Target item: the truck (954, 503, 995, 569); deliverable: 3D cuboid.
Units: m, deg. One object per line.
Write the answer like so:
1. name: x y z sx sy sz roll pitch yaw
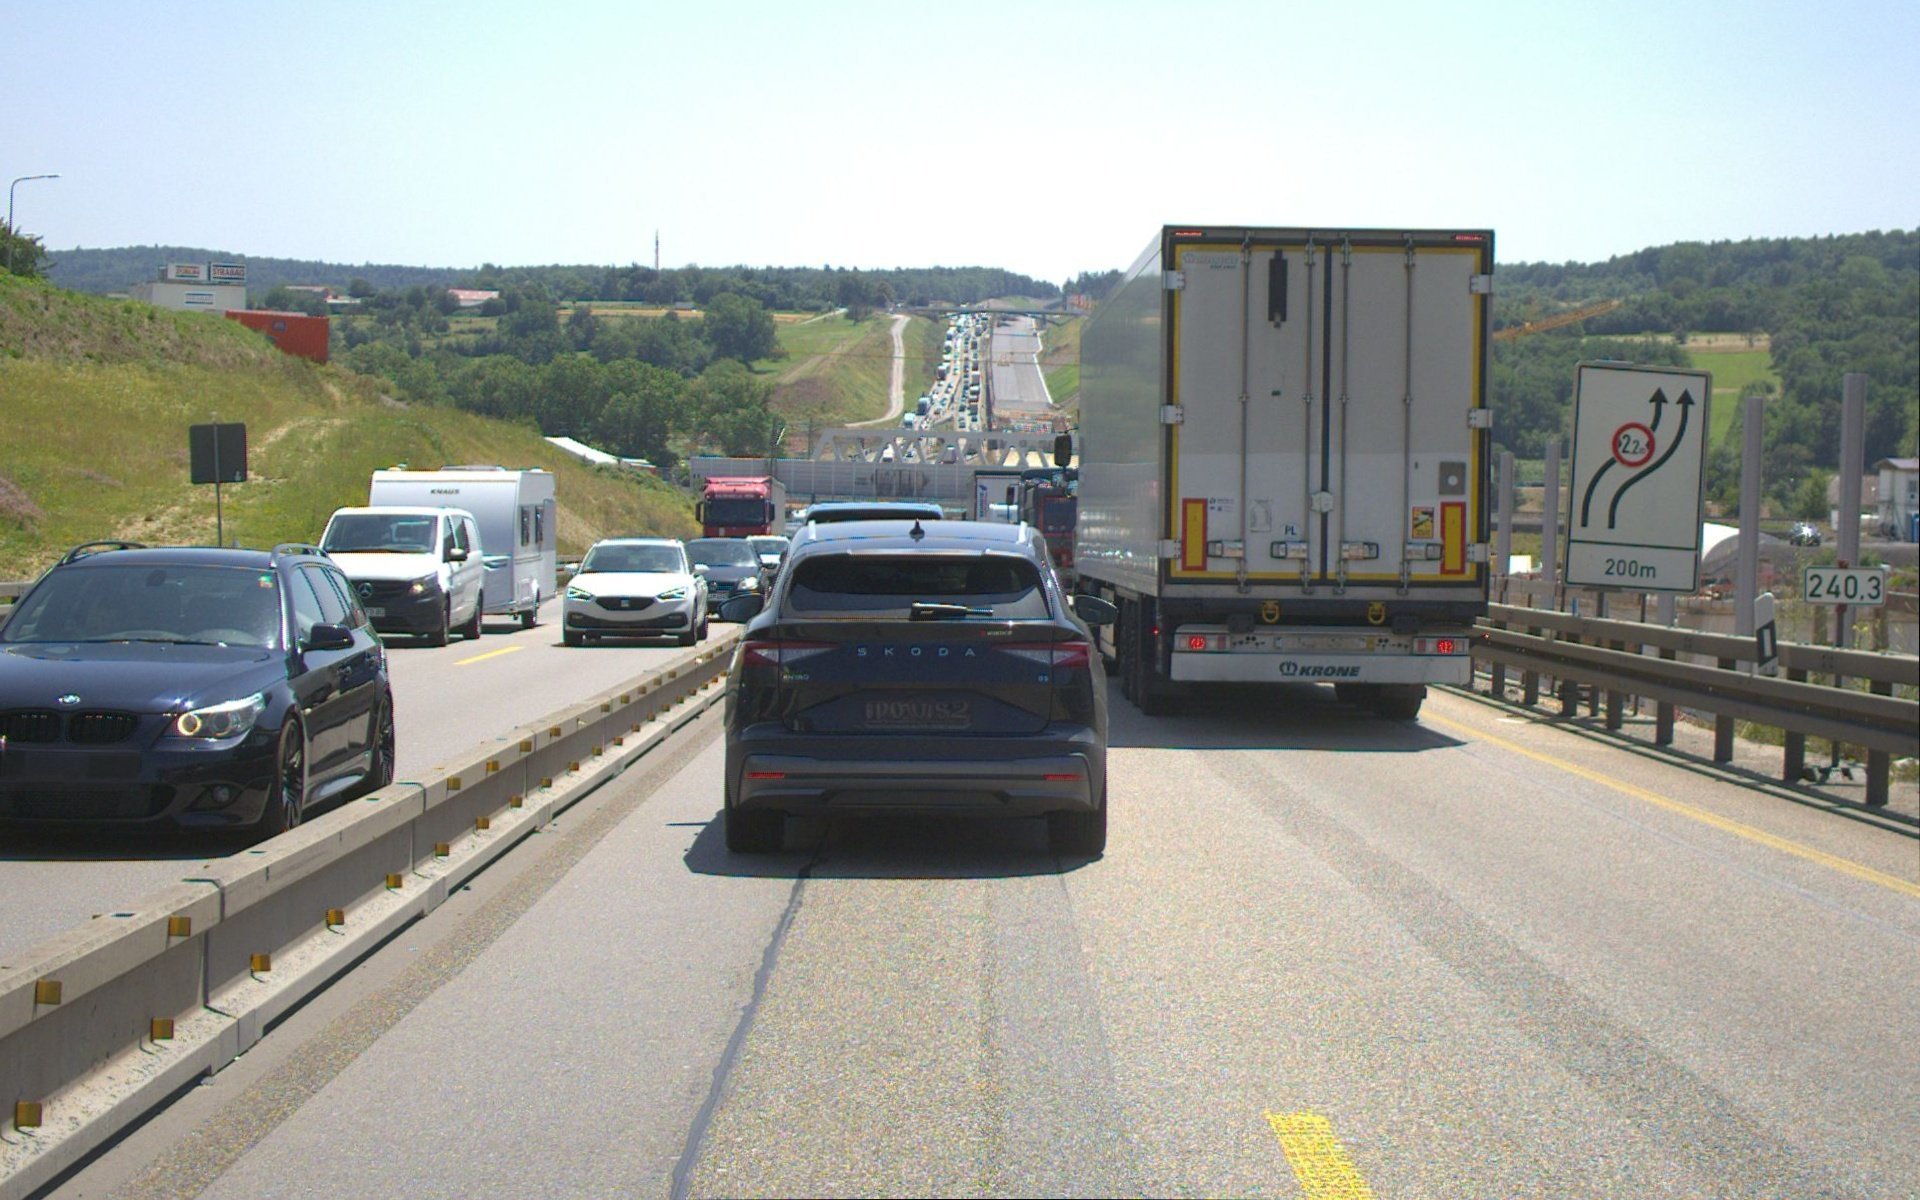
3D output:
1. truck: 0.935 -4.286 232.368 2.640 4.179 9.284 1 0 0

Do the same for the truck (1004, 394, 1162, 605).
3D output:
1. truck: 2.714 -2.167 78.370 3.180 4.498 8.165 1 0 0

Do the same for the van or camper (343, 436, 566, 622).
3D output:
1. van or camper: -7.757 -1.100 53.615 2.357 2.667 7.858 1 1 0

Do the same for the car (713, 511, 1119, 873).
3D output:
1. car: -0.191 0.398 17.453 1.802 1.602 4.000 1 0 0

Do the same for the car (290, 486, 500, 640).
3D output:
1. car: -7.648 -0.526 47.035 1.993 1.964 5.343 1 1 0

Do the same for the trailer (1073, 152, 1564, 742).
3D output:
1. trailer: 2.977 -1.335 33.066 3.180 4.497 13.109 1 1 0

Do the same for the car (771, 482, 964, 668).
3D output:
1. car: -0.999 -0.261 38.273 1.993 1.919 4.508 1 0 -1

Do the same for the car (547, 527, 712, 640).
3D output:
1. car: -4.536 -0.266 47.788 1.912 1.475 4.637 1 1 -1

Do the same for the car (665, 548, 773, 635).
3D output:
1. car: -4.146 -0.173 59.459 1.665 1.408 3.818 1 1 -1

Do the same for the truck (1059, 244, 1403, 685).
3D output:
1. truck: 2.914 -1.497 39.546 3.180 4.497 8.166 1 1 0

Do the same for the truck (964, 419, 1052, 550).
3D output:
1. truck: 1.724 -4.203 128.265 2.852 4.450 11.918 1 0 -1

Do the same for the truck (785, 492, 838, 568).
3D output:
1. truck: -8.970 -4.218 209.264 2.852 4.323 11.918 1 0 -1

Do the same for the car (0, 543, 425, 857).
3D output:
1. car: -4.138 0.421 18.112 1.895 1.409 4.679 0 1 0

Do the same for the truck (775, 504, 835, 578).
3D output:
1. truck: -8.346 -3.133 185.968 2.852 3.769 11.918 1 0 -1

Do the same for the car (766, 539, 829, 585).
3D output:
1. car: -5.440 -1.286 115.460 1.993 1.525 4.000 0 1 -1

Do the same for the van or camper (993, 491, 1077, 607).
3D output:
1. van or camper: 2.244 -1.458 101.739 2.389 3.269 6.468 1 0 2

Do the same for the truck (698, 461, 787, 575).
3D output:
1. truck: -8.415 -3.094 134.347 2.852 4.125 11.918 1 0 -1

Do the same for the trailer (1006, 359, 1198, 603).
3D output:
1. trailer: 2.747 -2.205 71.397 3.180 4.498 14.967 1 0 0

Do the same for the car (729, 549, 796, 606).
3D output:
1. car: -5.381 -0.633 93.971 1.792 1.513 3.999 0 1 -3
